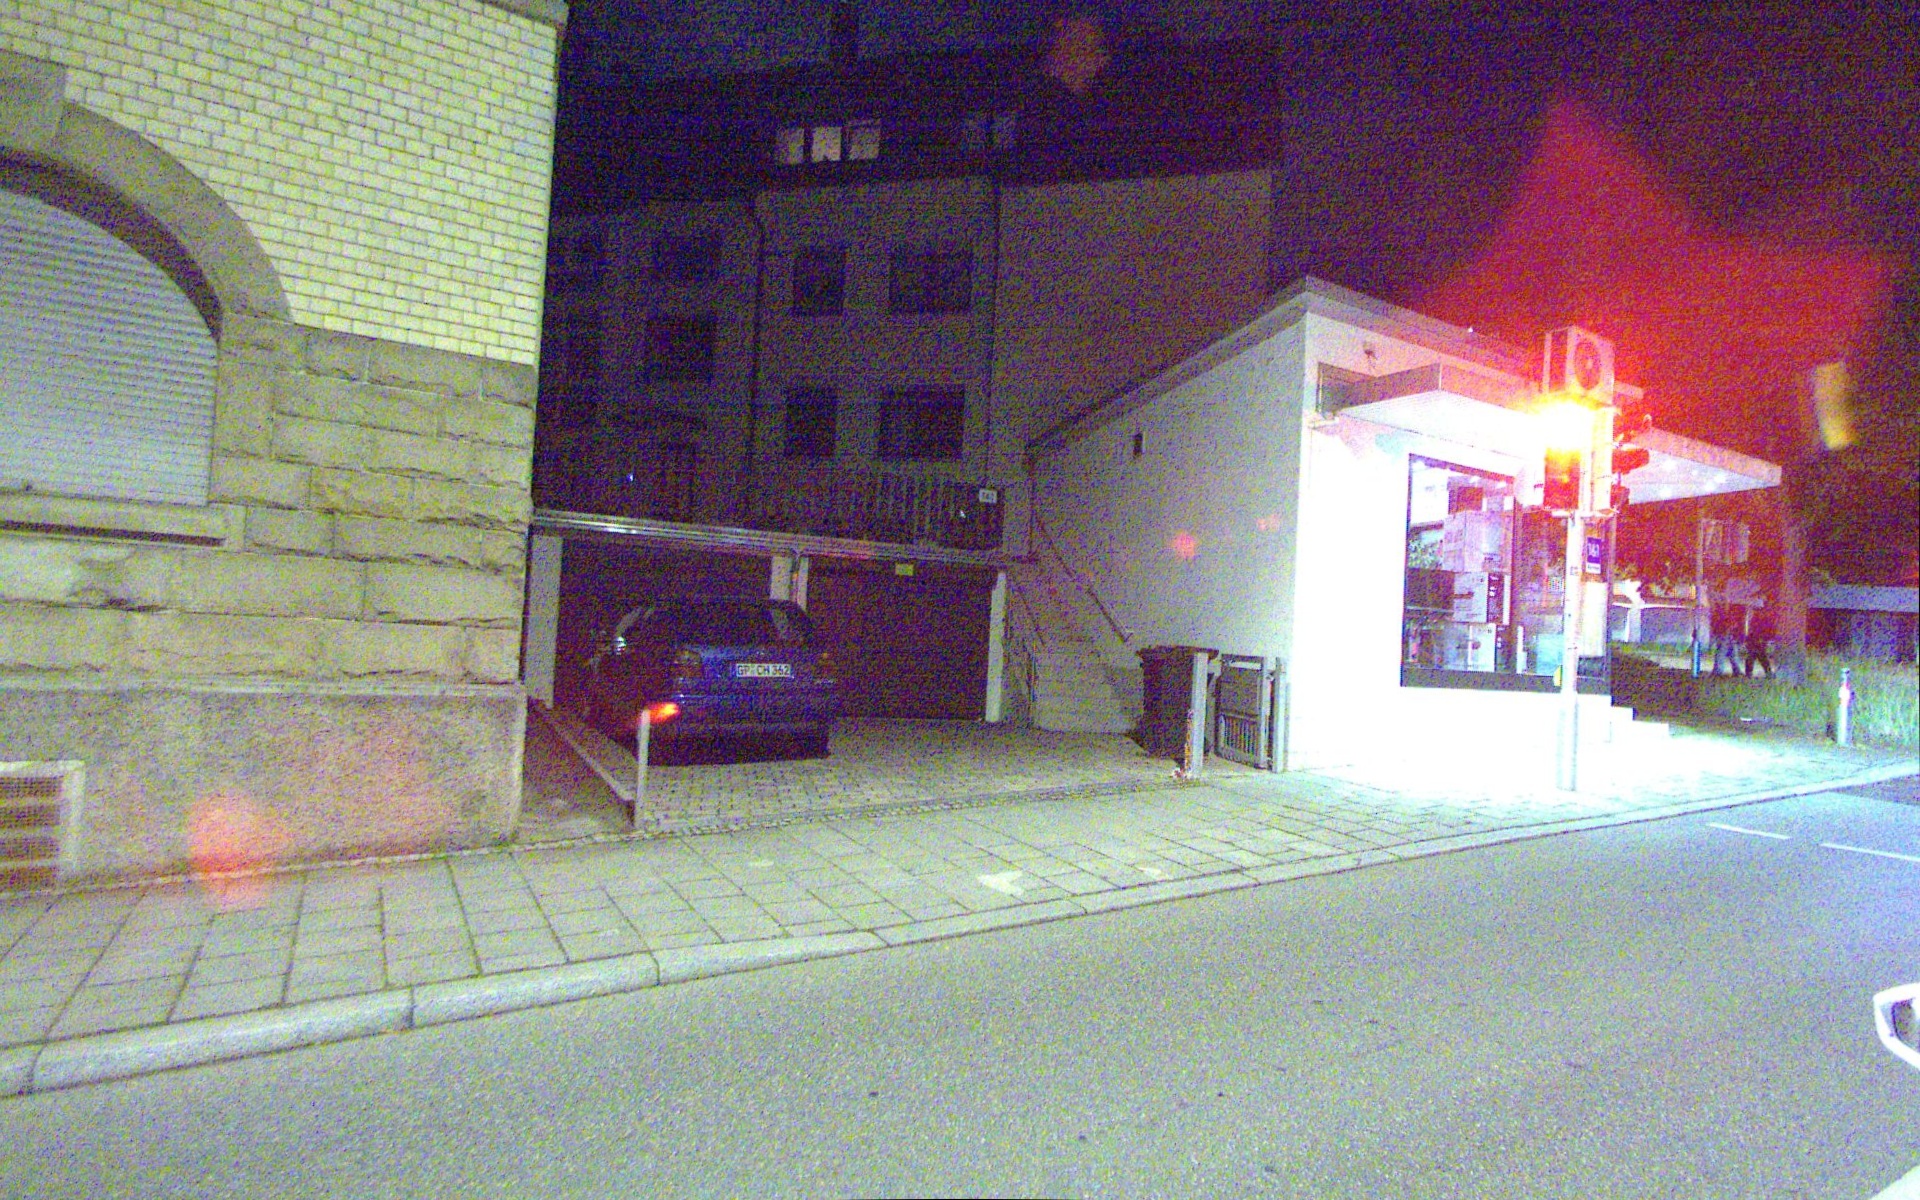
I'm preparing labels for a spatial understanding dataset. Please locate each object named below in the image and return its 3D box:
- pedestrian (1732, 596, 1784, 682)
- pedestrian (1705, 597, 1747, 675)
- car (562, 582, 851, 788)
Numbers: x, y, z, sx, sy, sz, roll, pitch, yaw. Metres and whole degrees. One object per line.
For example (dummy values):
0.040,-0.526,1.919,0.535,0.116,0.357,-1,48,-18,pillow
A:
17.180,0.833,21.630,0.729,1.801,0.567,2,2,-30,pedestrian
17.589,0.829,23.058,0.537,1.754,0.567,2,0,-30,pedestrian
-2.575,0.637,9.535,1.700,1.460,3.631,2,1,-30,car
